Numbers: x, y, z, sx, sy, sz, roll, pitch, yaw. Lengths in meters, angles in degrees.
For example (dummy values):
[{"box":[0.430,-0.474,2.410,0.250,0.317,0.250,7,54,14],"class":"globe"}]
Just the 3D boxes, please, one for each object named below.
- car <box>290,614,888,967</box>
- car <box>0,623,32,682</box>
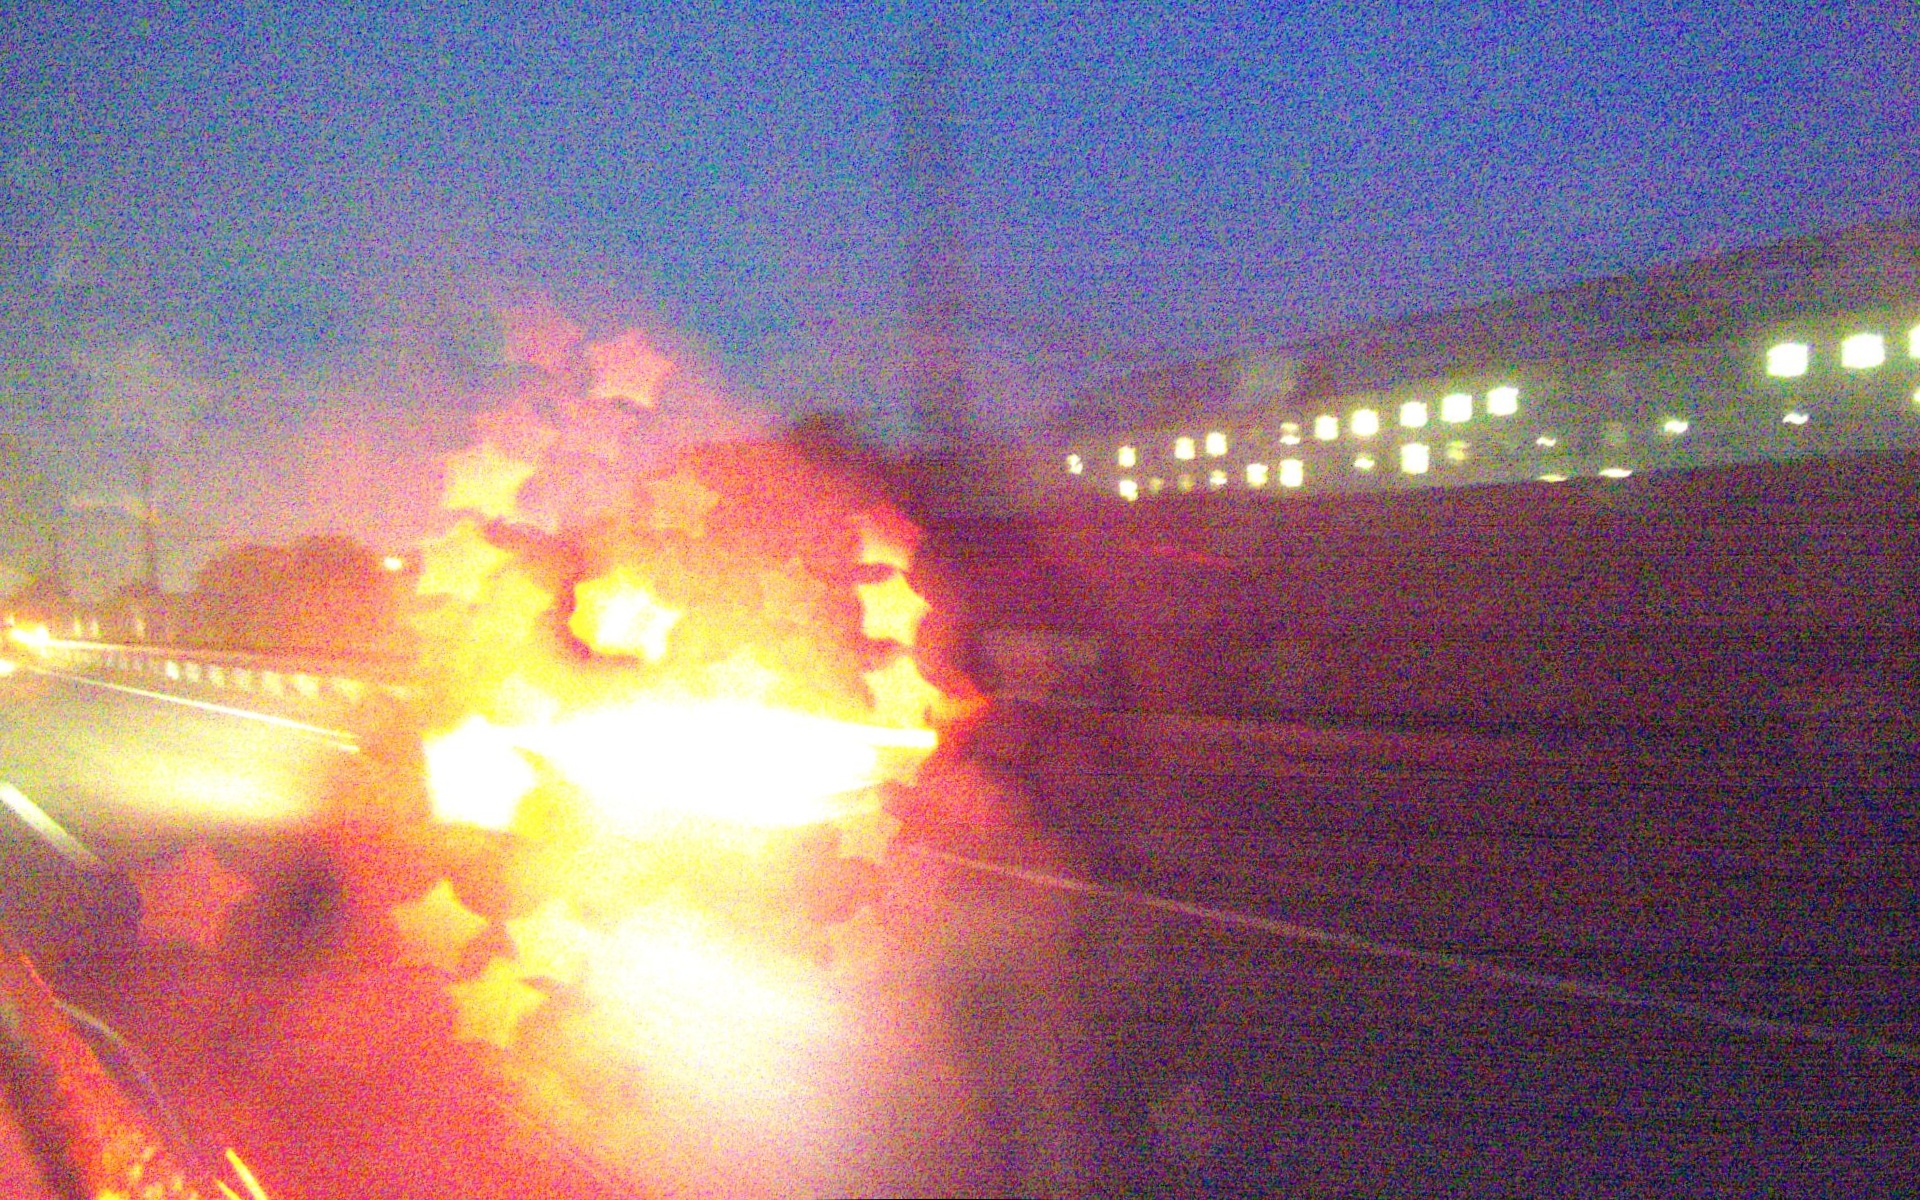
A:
[{"box":[-2.301,0.797,5.821,3.678,1.370,1.624,-2,-1,40],"class":"car"},{"box":[-25.620,1.362,26.409,3.423,1.467,1.648,-2,-1,40],"class":"car"}]
